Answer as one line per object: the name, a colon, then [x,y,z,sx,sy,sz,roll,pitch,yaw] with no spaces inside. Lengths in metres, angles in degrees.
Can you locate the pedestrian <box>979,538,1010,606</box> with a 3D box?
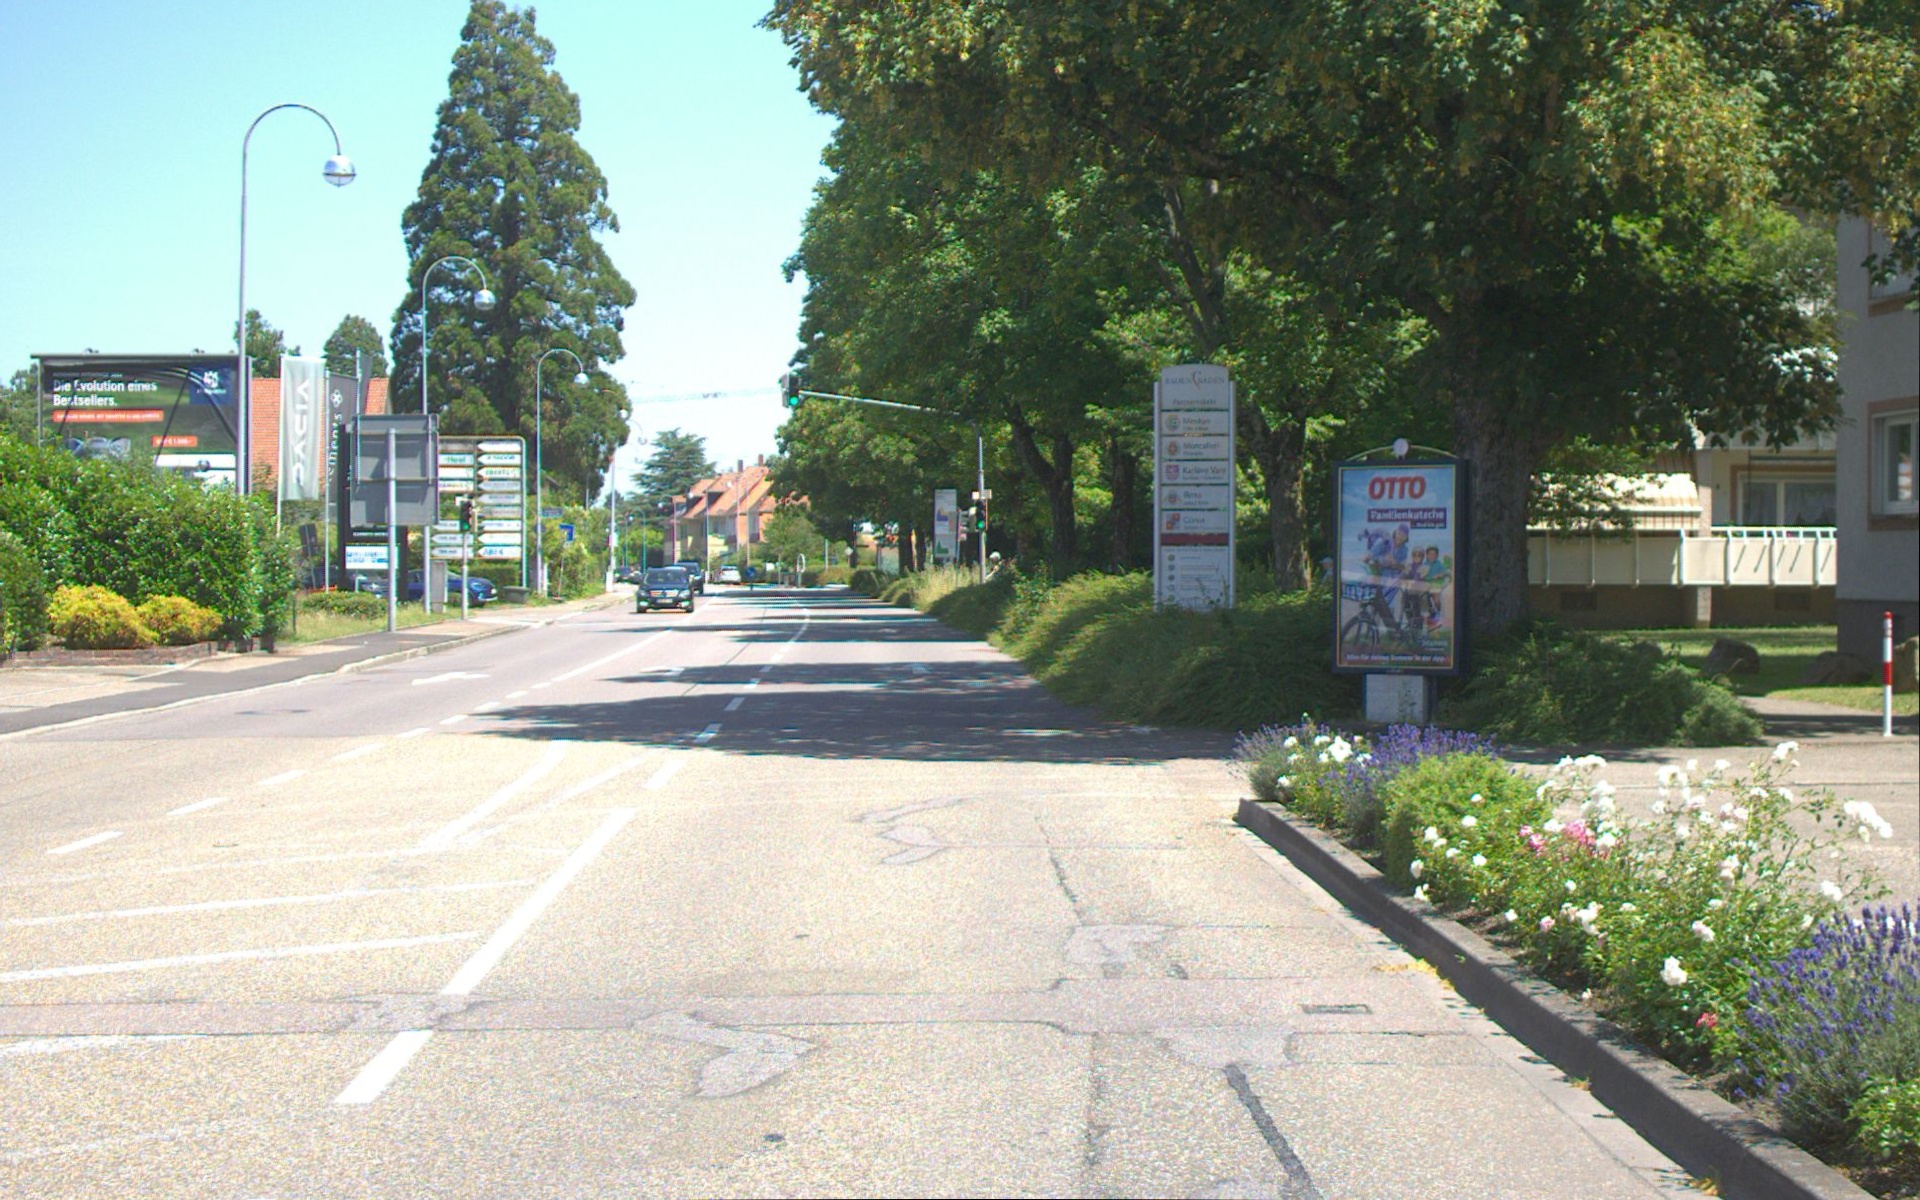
pedestrian: [0.906,-0.729,89.646,0.614,1.745,0.561,-1,0,24]

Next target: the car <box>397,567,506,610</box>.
car: [-17.287,-0.386,116.930,3.490,1.422,1.601,-1,0,-2]

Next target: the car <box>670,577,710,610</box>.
car: [-14.496,-0.372,184.908,1.879,1.712,4.310,-1,1,-2]

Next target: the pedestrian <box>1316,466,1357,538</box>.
pedestrian: [7.166,-1.864,65.439,0.661,1.330,0.889,-1,0,-1]

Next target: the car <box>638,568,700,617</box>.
car: [-9.251,-0.256,109.567,1.710,1.490,4.278,-1,1,-2]
